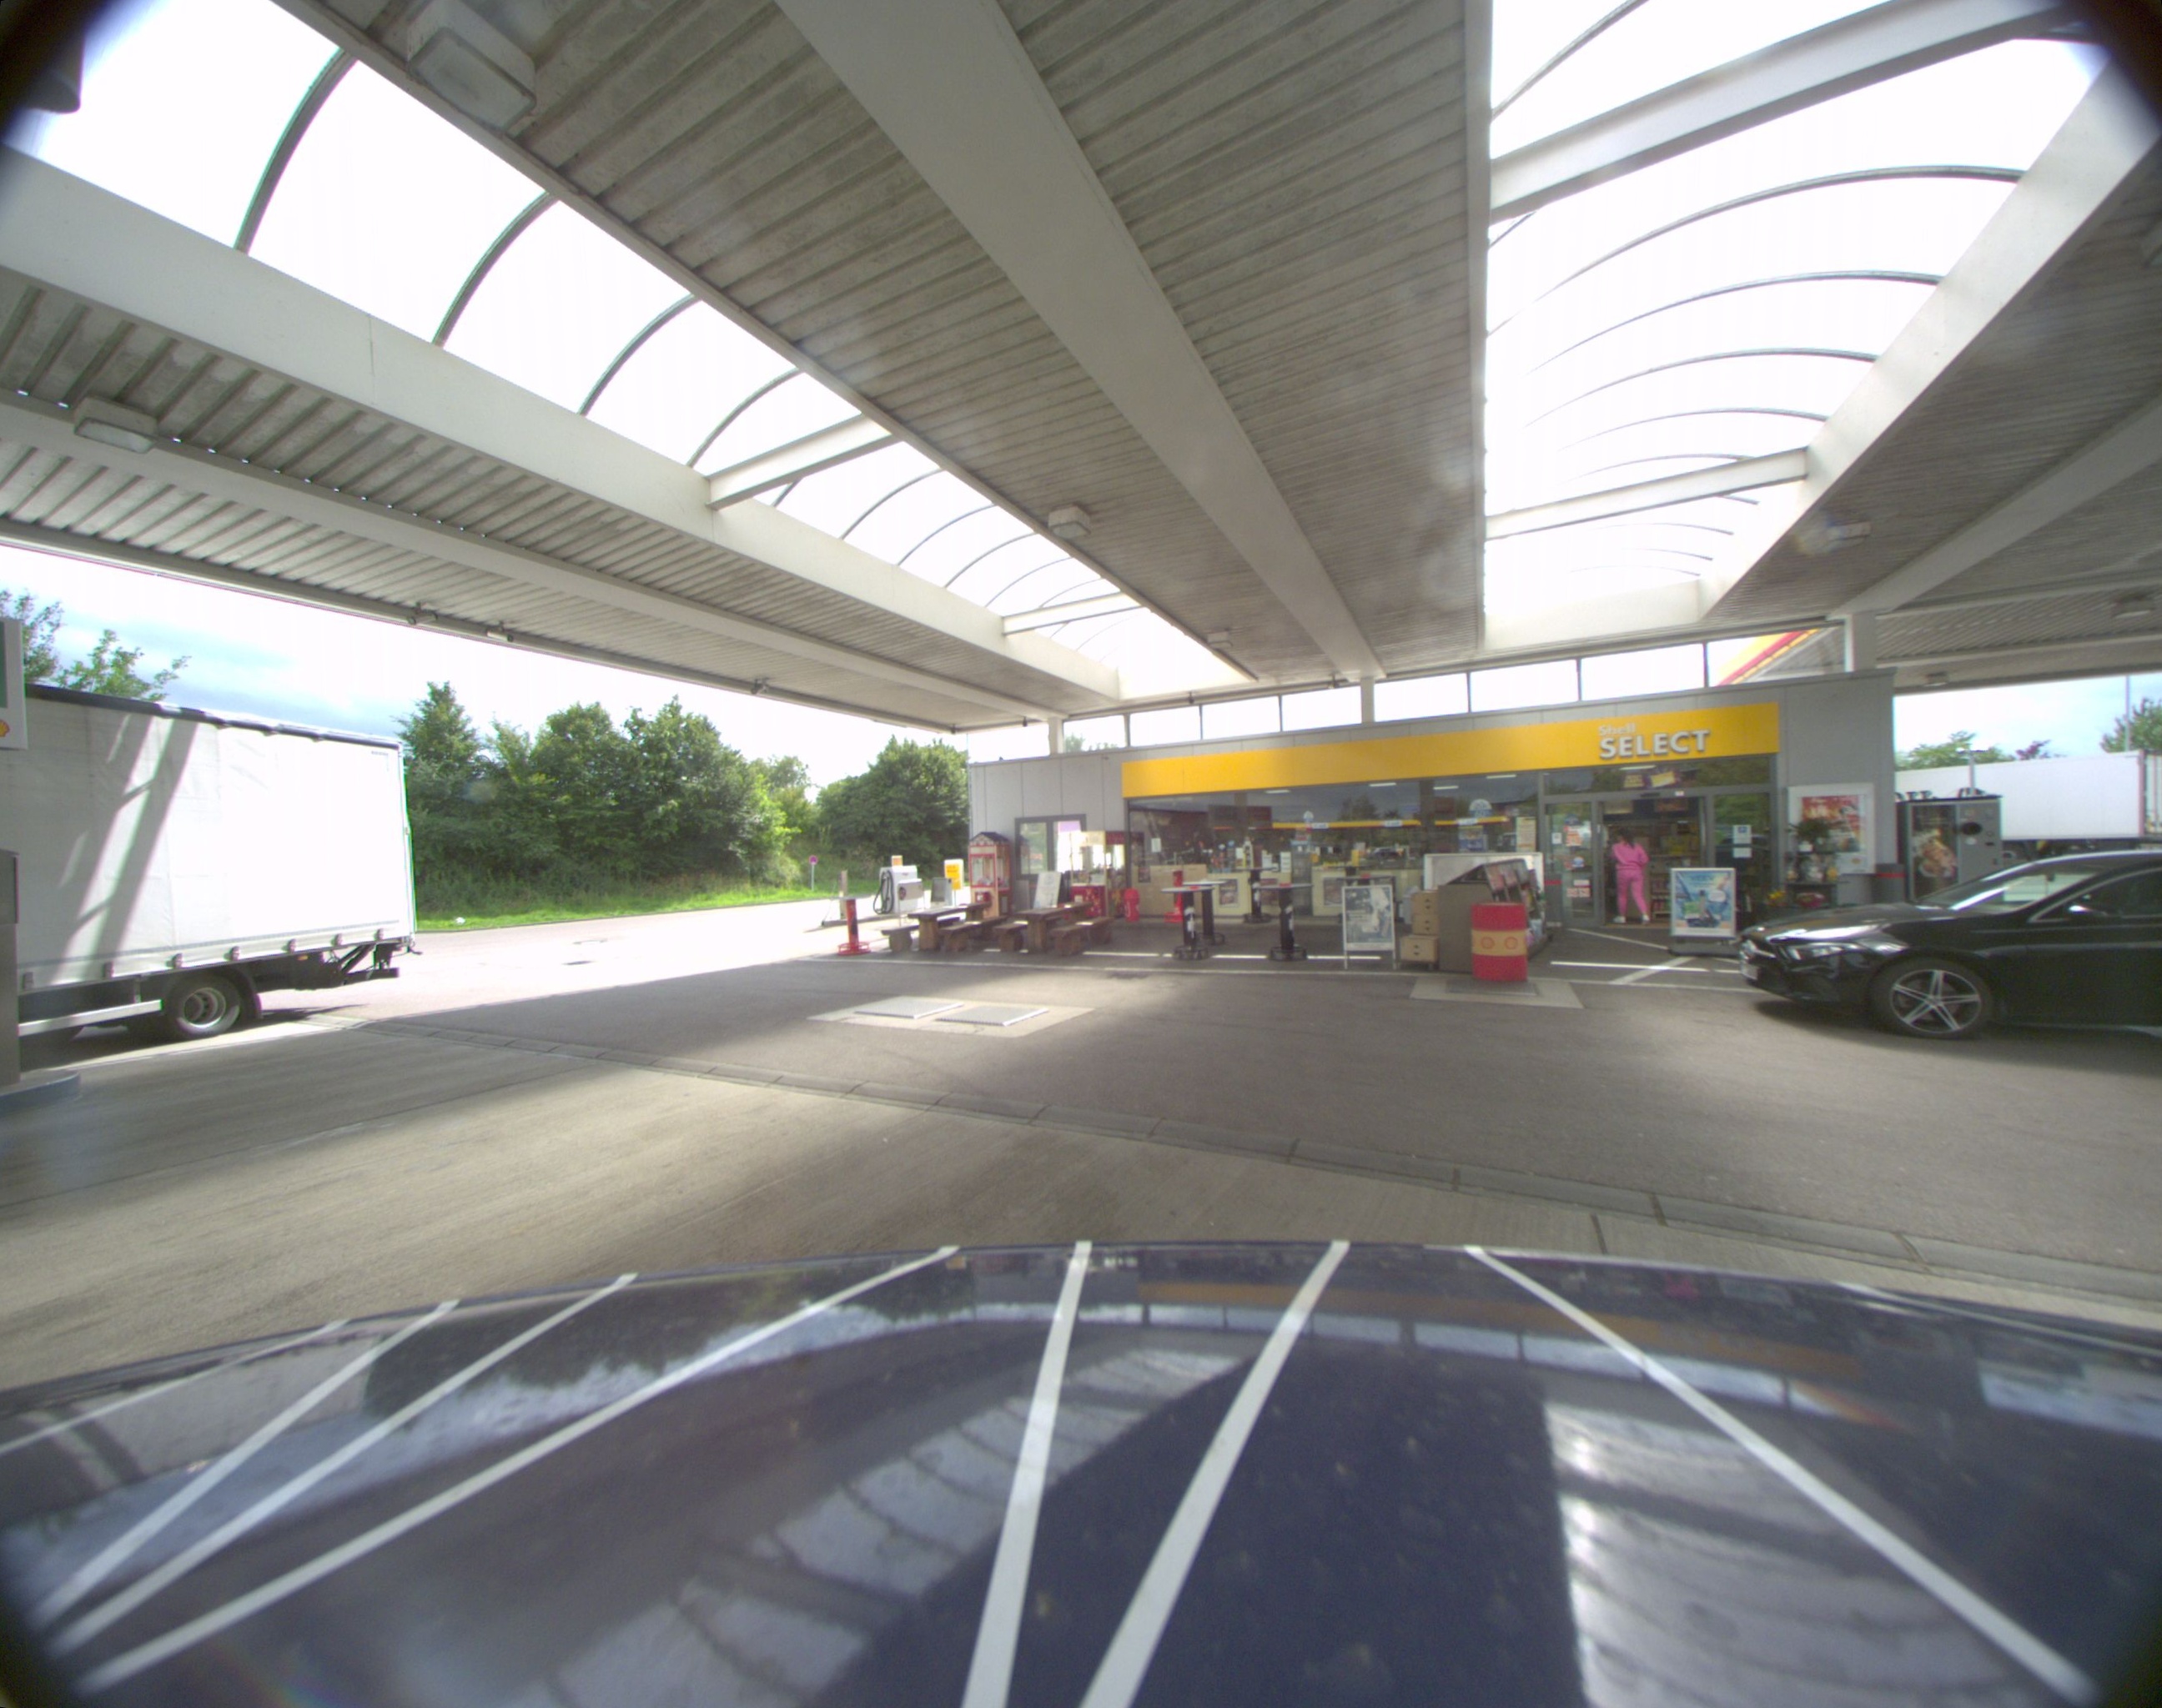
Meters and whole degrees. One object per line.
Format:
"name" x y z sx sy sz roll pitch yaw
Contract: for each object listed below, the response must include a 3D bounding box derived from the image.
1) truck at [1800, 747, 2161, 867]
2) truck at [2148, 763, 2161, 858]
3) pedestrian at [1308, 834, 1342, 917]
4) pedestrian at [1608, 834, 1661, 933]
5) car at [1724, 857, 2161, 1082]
"truck" 35.127 -1.603 30.050 2.796 3.982 9.578 -2 1 -16
"truck" 51.475 -2.026 33.130 3.383 4.479 6.239 -2 1 29
"pedestrian" 5.728 0.488 17.840 0.581 1.895 0.509 -2 1 -2
"pedestrian" 9.804 0.515 13.482 0.626 1.703 0.623 -2 1 24
"car" 8.169 0.818 5.970 4.461 1.491 1.782 -2 1 28
